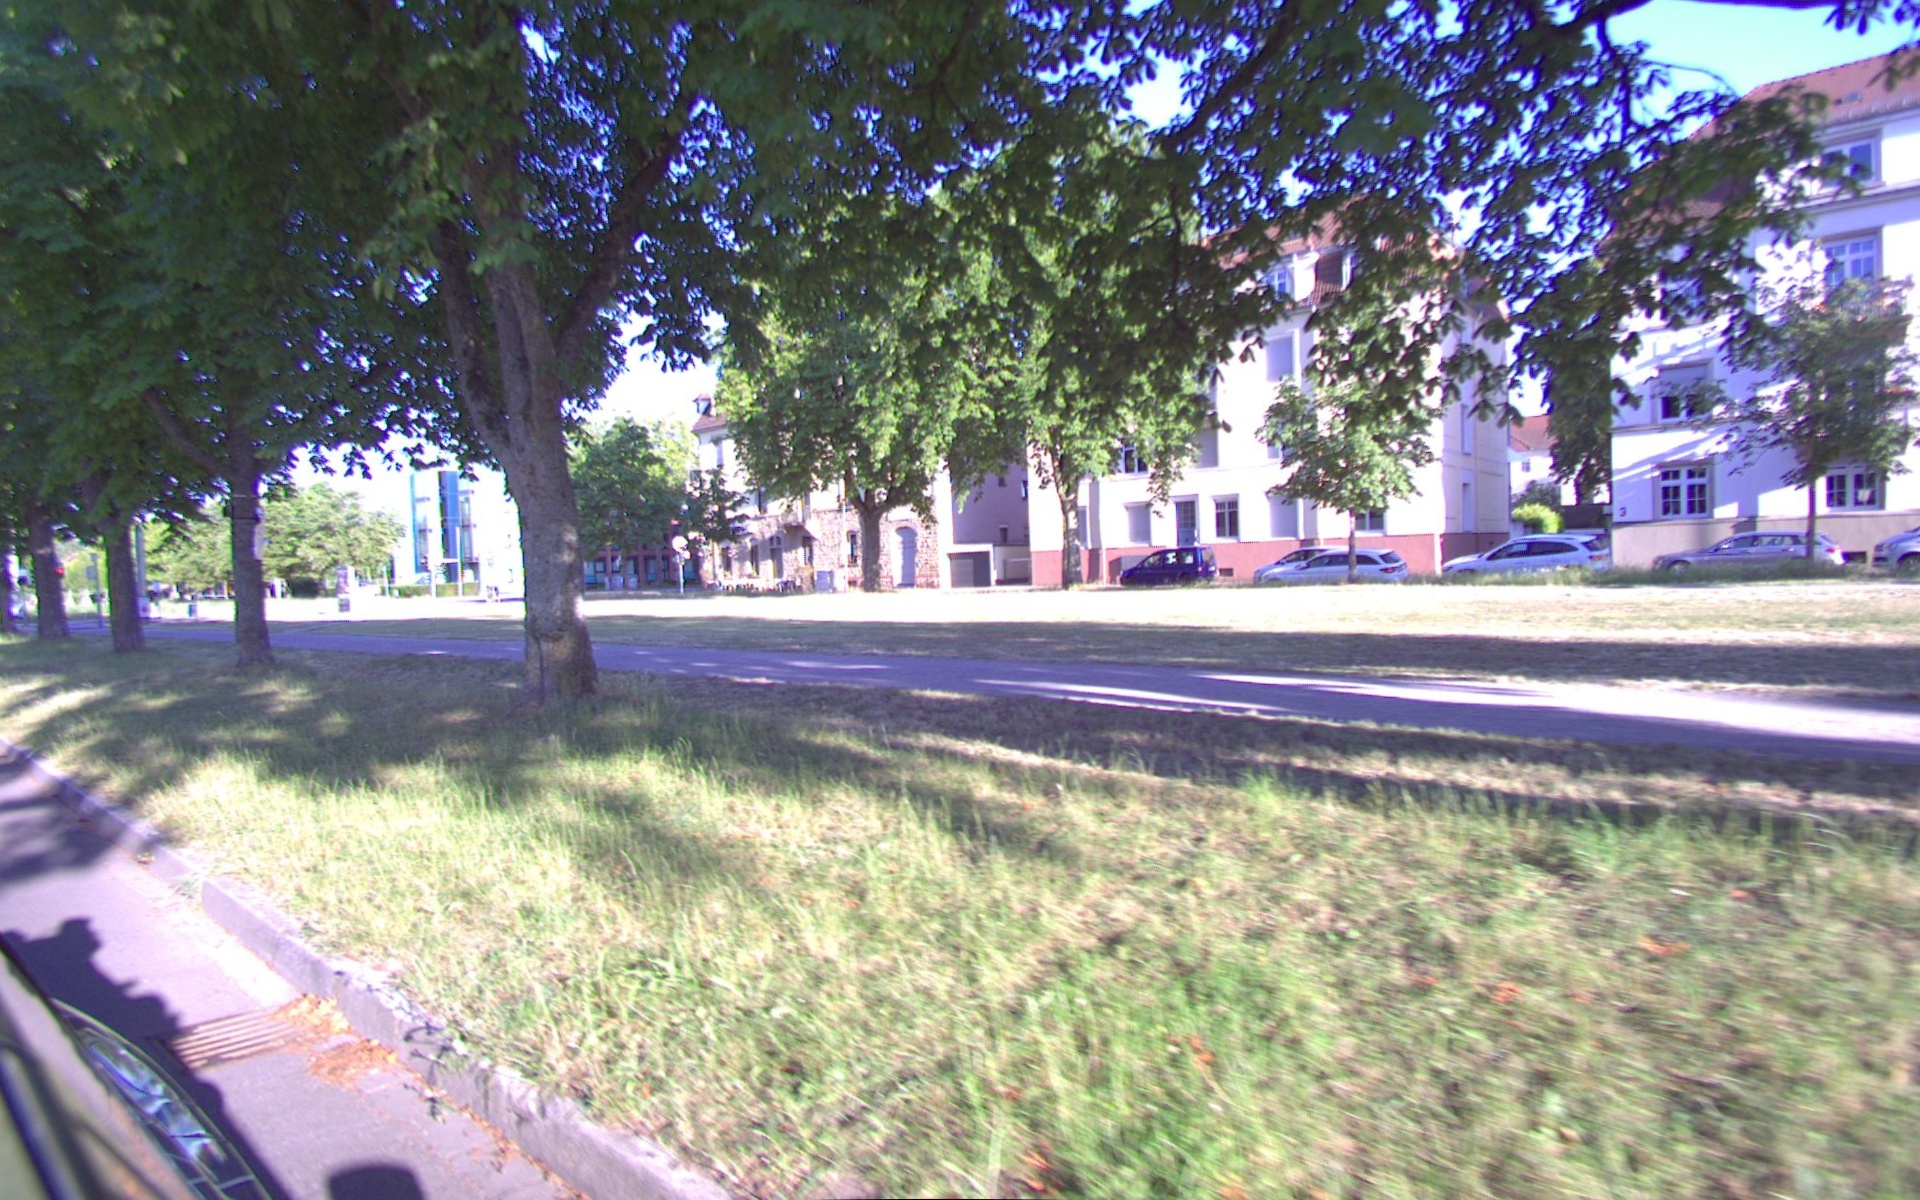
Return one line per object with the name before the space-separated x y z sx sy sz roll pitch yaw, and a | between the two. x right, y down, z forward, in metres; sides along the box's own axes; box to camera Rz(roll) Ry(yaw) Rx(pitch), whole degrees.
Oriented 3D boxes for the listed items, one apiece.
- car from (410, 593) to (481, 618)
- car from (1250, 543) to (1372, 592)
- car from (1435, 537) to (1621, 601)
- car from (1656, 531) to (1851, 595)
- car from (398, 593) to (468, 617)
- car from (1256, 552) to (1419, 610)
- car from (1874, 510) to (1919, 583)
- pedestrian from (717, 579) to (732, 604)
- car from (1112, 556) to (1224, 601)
car | -45.451 0.423 89.521 1.997 1.683 5.159 0 6 38
car | 13.638 -1.249 39.388 4.000 1.670 1.973 0 7 43
car | 16.420 -0.874 29.367 4.415 1.565 1.779 -1 5 40
car | 23.713 -1.094 30.366 4.473 1.653 1.824 -1 5 41
car | -47.267 0.399 90.897 1.964 1.683 5.162 0 5 36
car | 12.248 -0.625 33.016 4.570 1.670 1.973 0 6 43
car | 27.857 -1.530 27.099 4.873 1.964 1.974 -1 2 40
pedestrian | -15.813 -0.593 67.920 0.682 1.636 0.610 0 5 39
car | 8.977 -0.936 43.776 4.311 1.748 1.973 0 6 43
